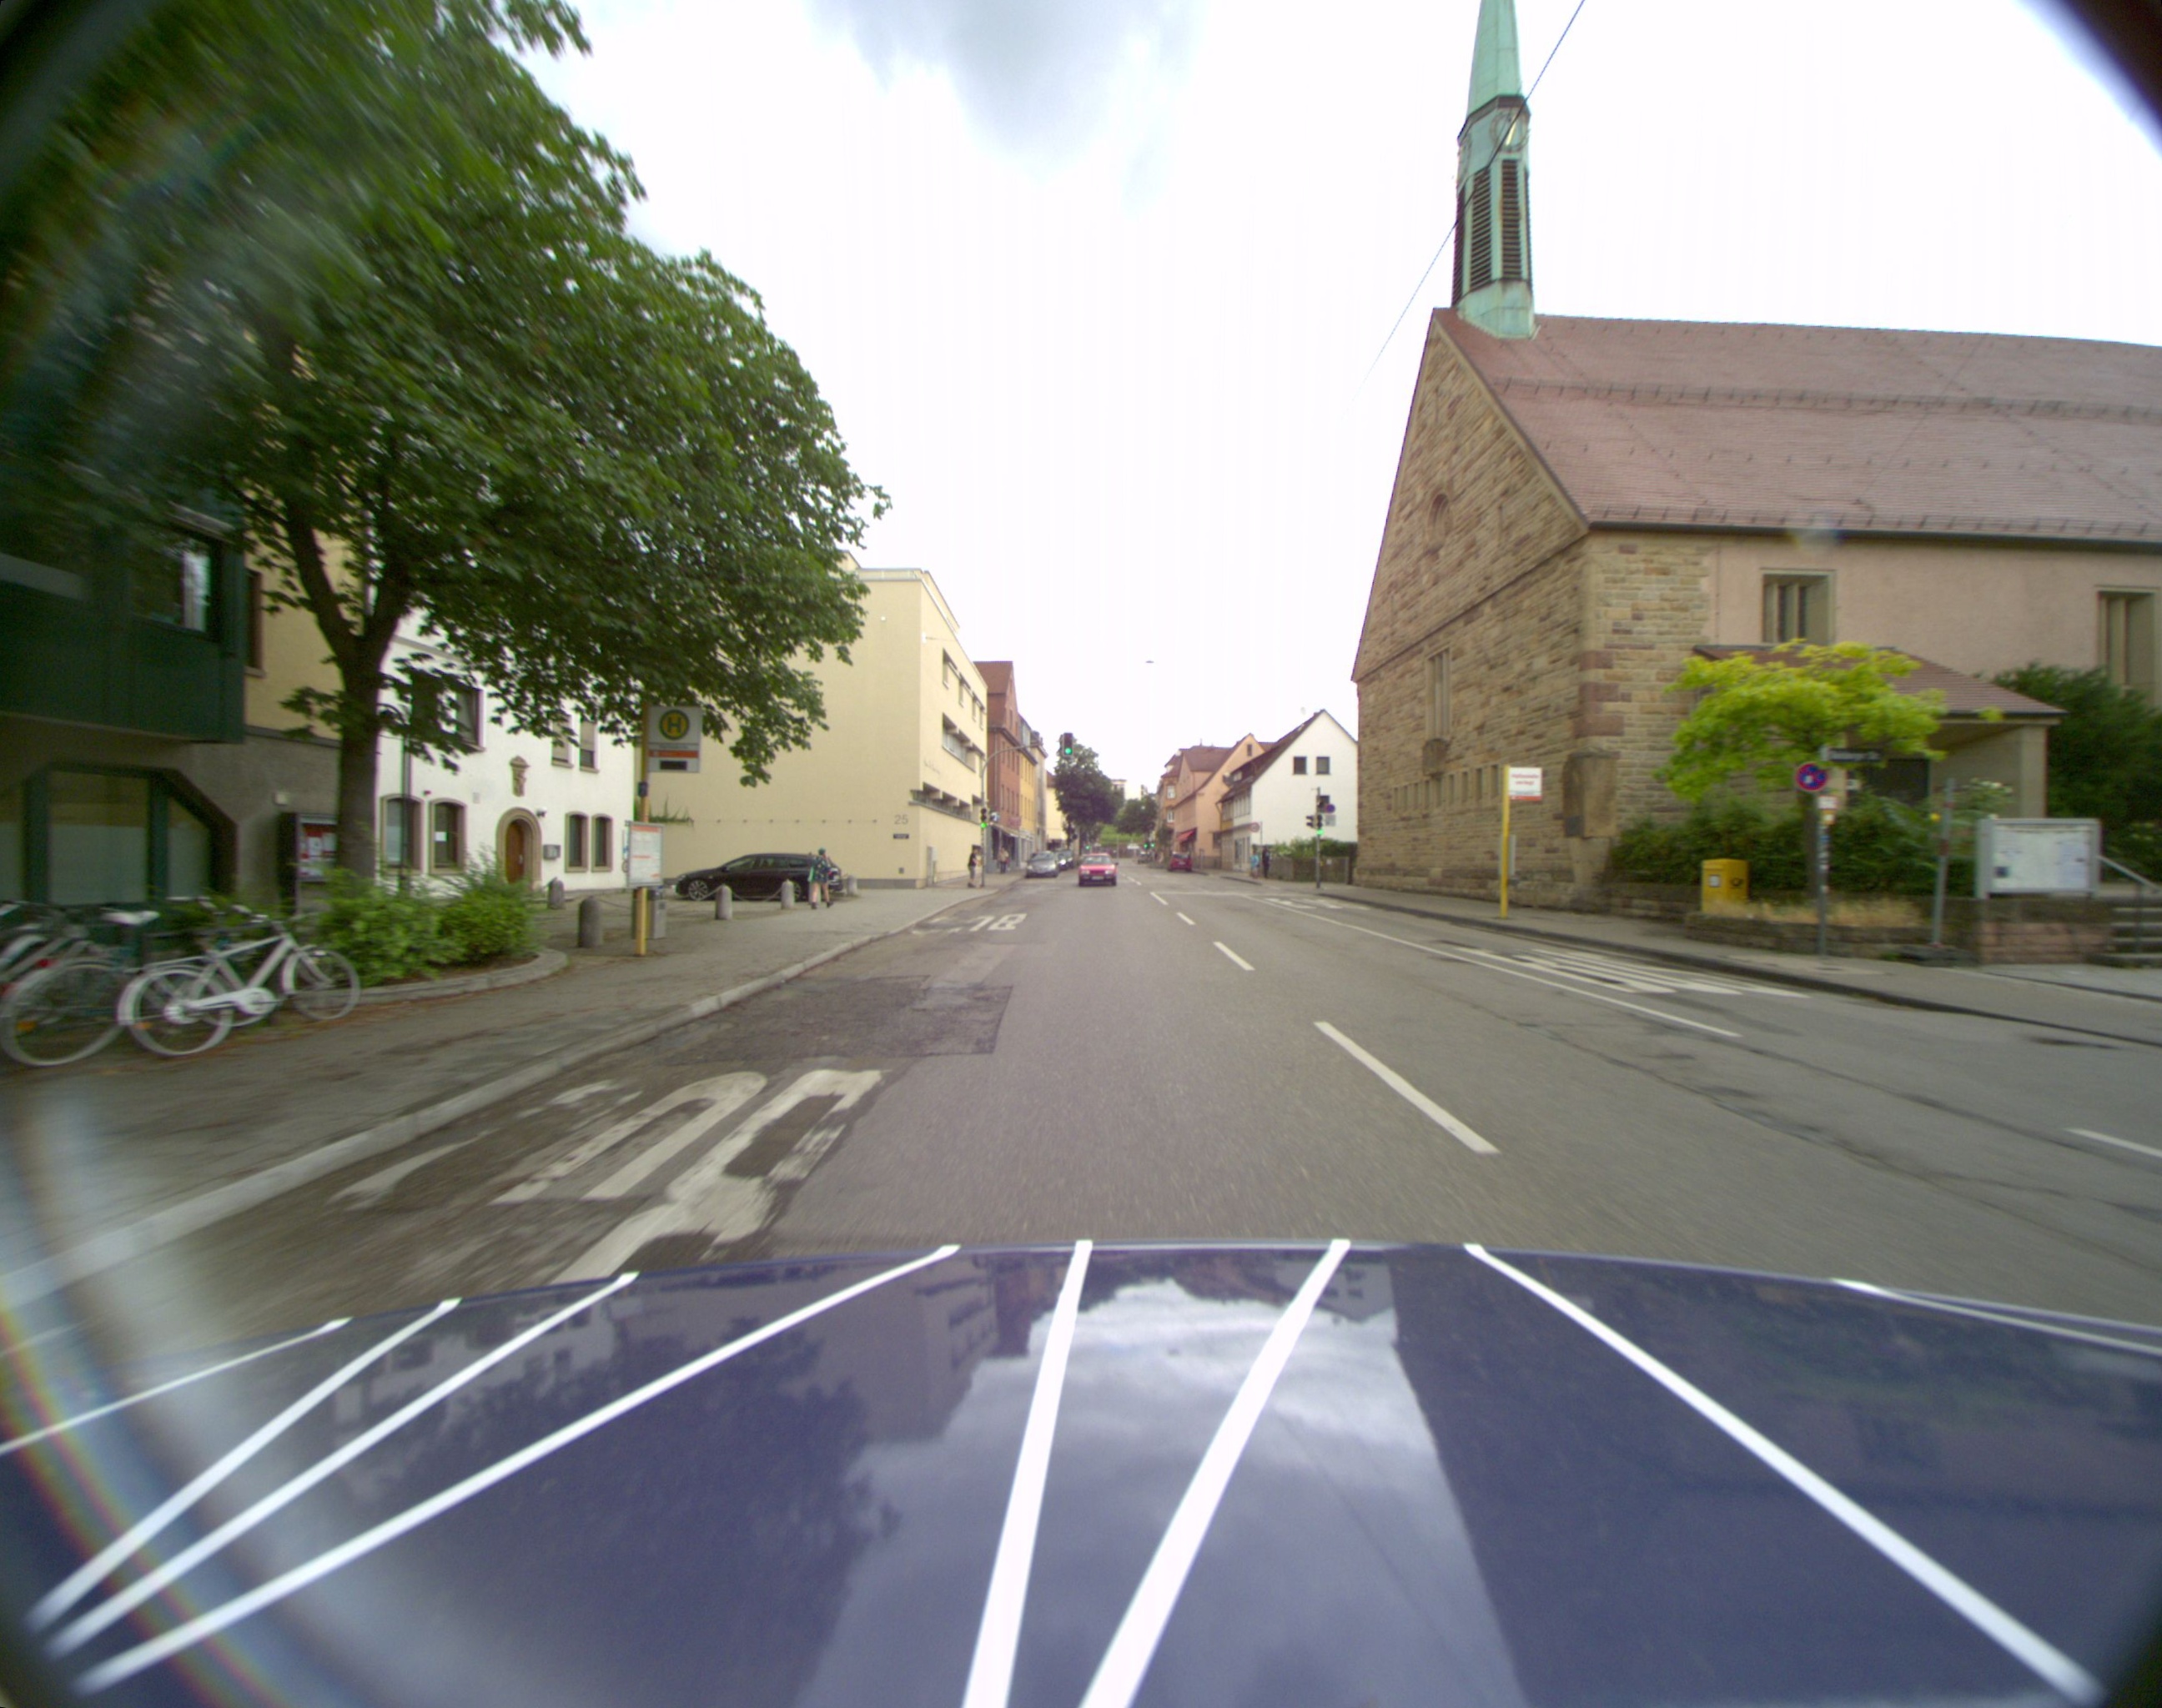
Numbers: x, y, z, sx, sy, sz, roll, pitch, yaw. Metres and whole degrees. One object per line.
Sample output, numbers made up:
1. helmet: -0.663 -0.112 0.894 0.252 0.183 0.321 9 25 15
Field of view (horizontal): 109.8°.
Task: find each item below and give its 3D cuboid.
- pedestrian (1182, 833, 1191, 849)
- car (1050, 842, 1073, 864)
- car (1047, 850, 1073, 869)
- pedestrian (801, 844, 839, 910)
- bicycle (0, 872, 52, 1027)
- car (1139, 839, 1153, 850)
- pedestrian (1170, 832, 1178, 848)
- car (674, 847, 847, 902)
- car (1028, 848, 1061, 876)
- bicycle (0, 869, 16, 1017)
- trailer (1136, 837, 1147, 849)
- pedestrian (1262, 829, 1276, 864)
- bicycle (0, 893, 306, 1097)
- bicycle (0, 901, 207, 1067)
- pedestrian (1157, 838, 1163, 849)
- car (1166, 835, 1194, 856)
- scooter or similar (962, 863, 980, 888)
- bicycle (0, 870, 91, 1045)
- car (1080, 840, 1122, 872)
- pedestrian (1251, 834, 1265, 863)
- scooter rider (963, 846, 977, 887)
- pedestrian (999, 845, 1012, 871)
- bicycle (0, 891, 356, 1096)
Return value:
1. pedestrian: 10.502 -1.283 75.959 0.732 1.620 0.758 -2 2 -1
2. car: -1.685 -0.113 67.056 1.824 1.771 4.402 0 1 0
3. car: -1.686 0.390 62.470 1.755 1.398 4.511 1 1 3
4. pedestrian: -6.921 0.594 20.180 0.603 1.706 0.860 0 2 9
5. bicycle: -9.292 0.828 5.725 0.333 1.293 1.958 -1 2 1
6. car: 9.888 -1.467 116.249 1.895 1.702 4.741 2 1 3
7. pedestrian: 9.743 -1.463 79.587 0.740 1.744 0.983 0 1 3
8. car: -9.793 0.598 23.458 4.521 1.565 1.852 1 2 1
9. car: -2.185 0.457 46.222 1.716 1.551 3.785 0 1 1
10. bicycle: -9.648 0.803 5.748 0.333 1.293 1.958 -1 2 1
11. trailer: 14.537 -2.717 183.325 2.450 2.788 6.304 1 1 5
12. pedestrian: 10.220 -0.396 41.338 0.572 1.838 0.697 -3 1 2
13. bicycle: -6.926 0.931 5.607 0.333 1.135 1.958 -1 2 1
14. bicycle: -7.910 0.965 5.520 0.546 1.063 2.290 1 1 -3
15. pedestrian: 12.963 -1.734 124.547 0.740 1.708 1.156 0 1 0
16. car: 8.109 -0.712 62.468 1.707 1.565 4.450 2 2 1
17. scooter or similar: -4.436 0.862 30.582 0.663 0.940 0.818 2 3 -9
18. bicycle: -8.290 0.800 5.218 0.333 1.293 1.958 -1 2 1
19. car: 0.966 0.047 34.463 1.626 1.387 4.001 0 1 5
20. pedestrian: 9.834 -0.304 42.186 0.572 1.545 0.697 -1 1 2
21. scooter rider: -4.458 0.491 30.555 0.454 1.623 0.504 2 3 -13
22. pedestrian: -4.738 0.245 47.593 0.702 1.640 0.888 1 1 1
23. bicycle: -6.585 0.920 5.706 0.333 1.134 1.958 -1 2 1
